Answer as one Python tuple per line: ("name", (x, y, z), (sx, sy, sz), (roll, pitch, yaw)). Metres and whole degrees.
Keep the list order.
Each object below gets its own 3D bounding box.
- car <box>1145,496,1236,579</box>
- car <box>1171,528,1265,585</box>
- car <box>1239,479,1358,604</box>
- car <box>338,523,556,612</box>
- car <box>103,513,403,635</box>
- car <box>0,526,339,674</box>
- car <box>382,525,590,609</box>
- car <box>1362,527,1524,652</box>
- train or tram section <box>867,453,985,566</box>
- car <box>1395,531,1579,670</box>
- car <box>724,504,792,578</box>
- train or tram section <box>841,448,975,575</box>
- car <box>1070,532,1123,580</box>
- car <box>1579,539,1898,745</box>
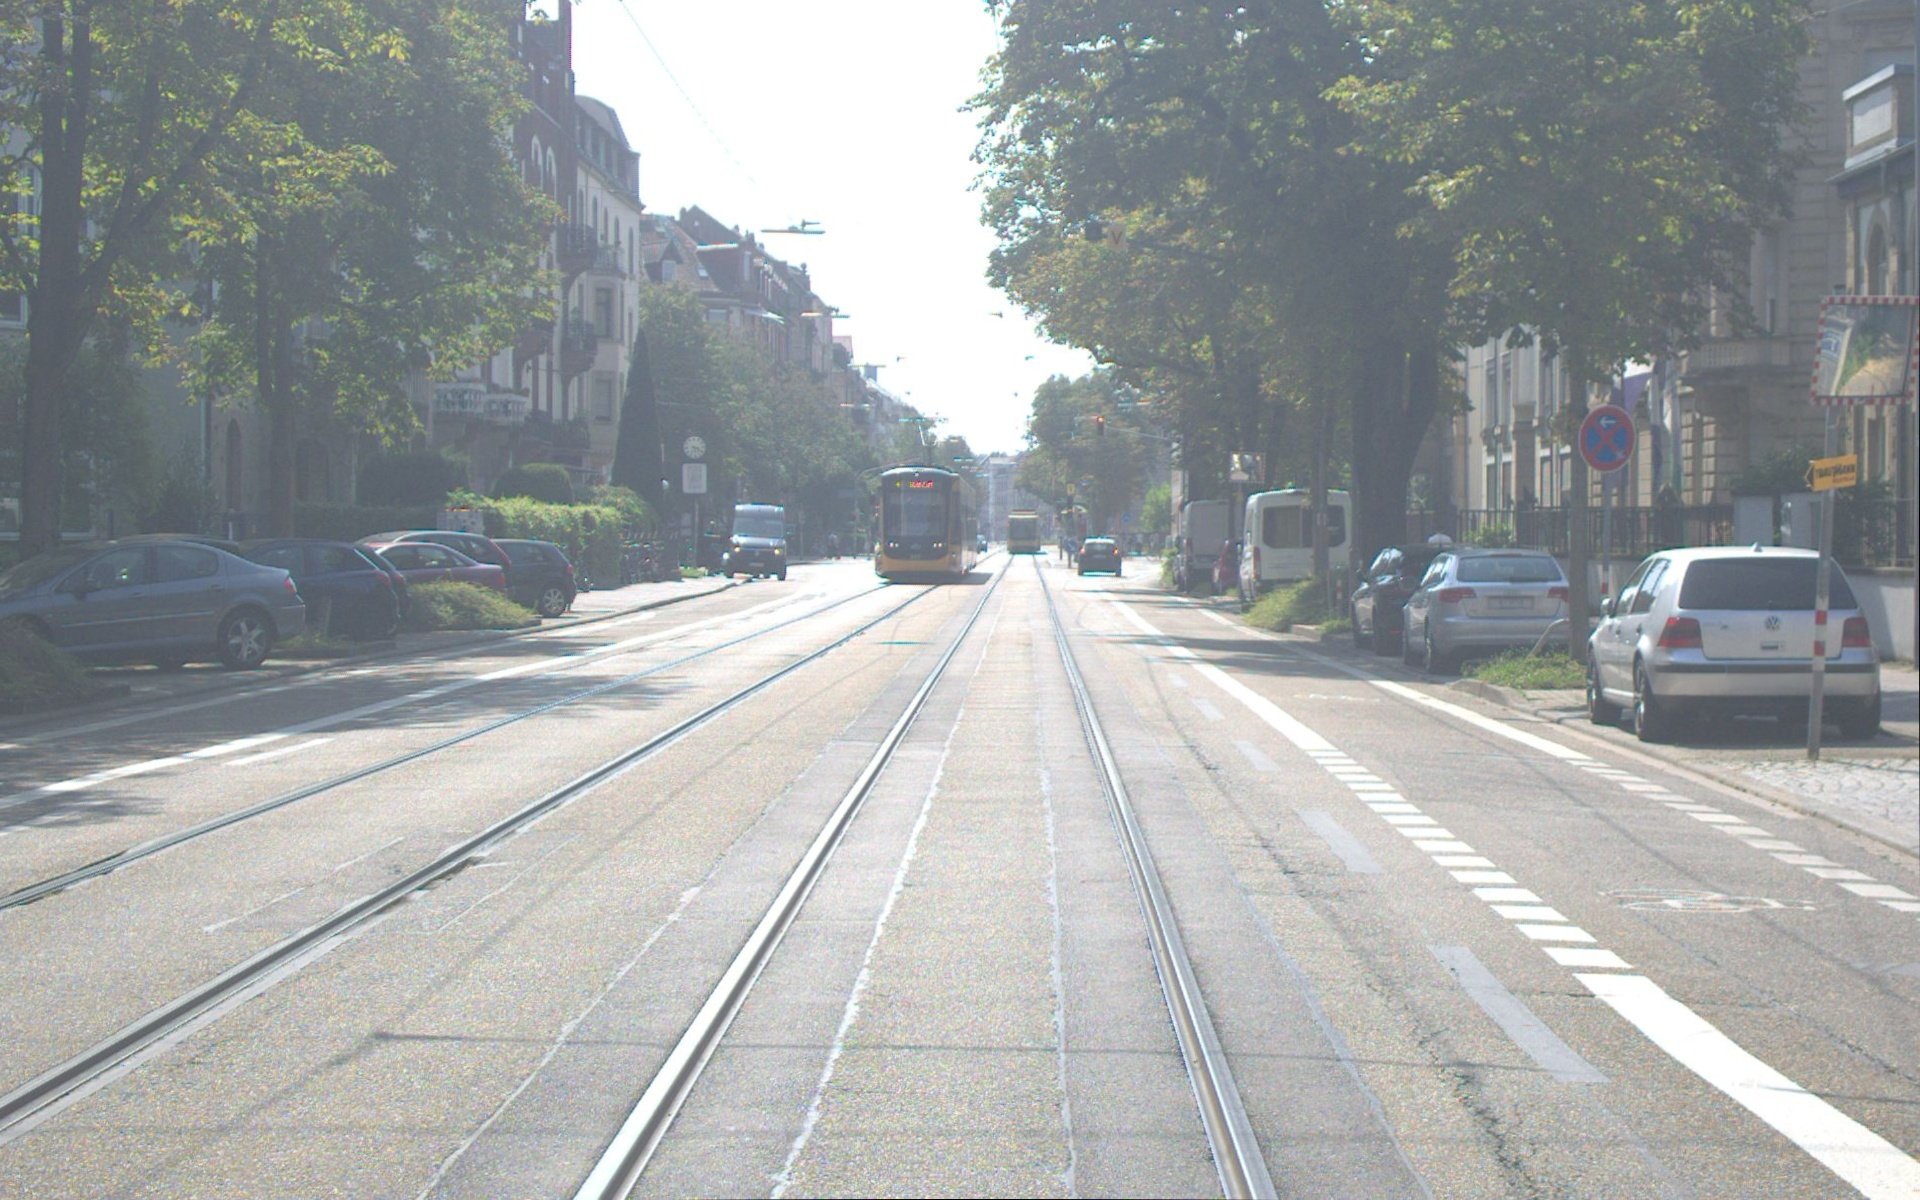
("car", (6.330, -1.736, 94.791), (1.993, 2.226, 4.001), (0, 1, -3))
("car", (6.535, -1.125, 87.397), (1.993, 1.393, 4.000), (0, 1, -1))
("car", (6.606, -1.149, 67.456), (1.993, 2.357, 4.000), (1, 1, 2))
("car", (-9.347, -0.589, 62.728), (3.576, 1.569, 1.676), (0, 1, -40))
("car", (-9.494, -0.353, 46.252), (3.576, 1.569, 1.676), (0, 1, -40))
("car", (-9.130, -0.035, 37.023), (1.675, 1.446, 4.676), (1, 3, 45))
("car", (-9.048, -0.629, 65.756), (3.576, 1.569, 1.676), (0, 1, -40))
("car", (6.396, -0.177, 45.898), (1.794, 1.571, 4.000), (0, 1, 3))
("train or tram section", (-1.082, -3.158, 119.774), (3.497, 3.691, 12.412), (1, 2, 2))
("car", (6.050, -0.021, 39.771), (1.641, 1.506, 3.641), (1, 1, 1))
("car", (-6.894, -2.023, 117.662), (2.242, 2.433, 4.001), (1, 1, -2))
("train or tram section", (-1.517, -2.784, 107.360), (3.497, 3.691, 12.412), (1, 2, 2))
("car", (5.328, -1.727, 134.411), (1.993, 1.795, 4.000), (1, 1, 2))
("car", (5.848, 0.265, 26.214), (1.791, 1.441, 3.732), (-1, 1, 4))
